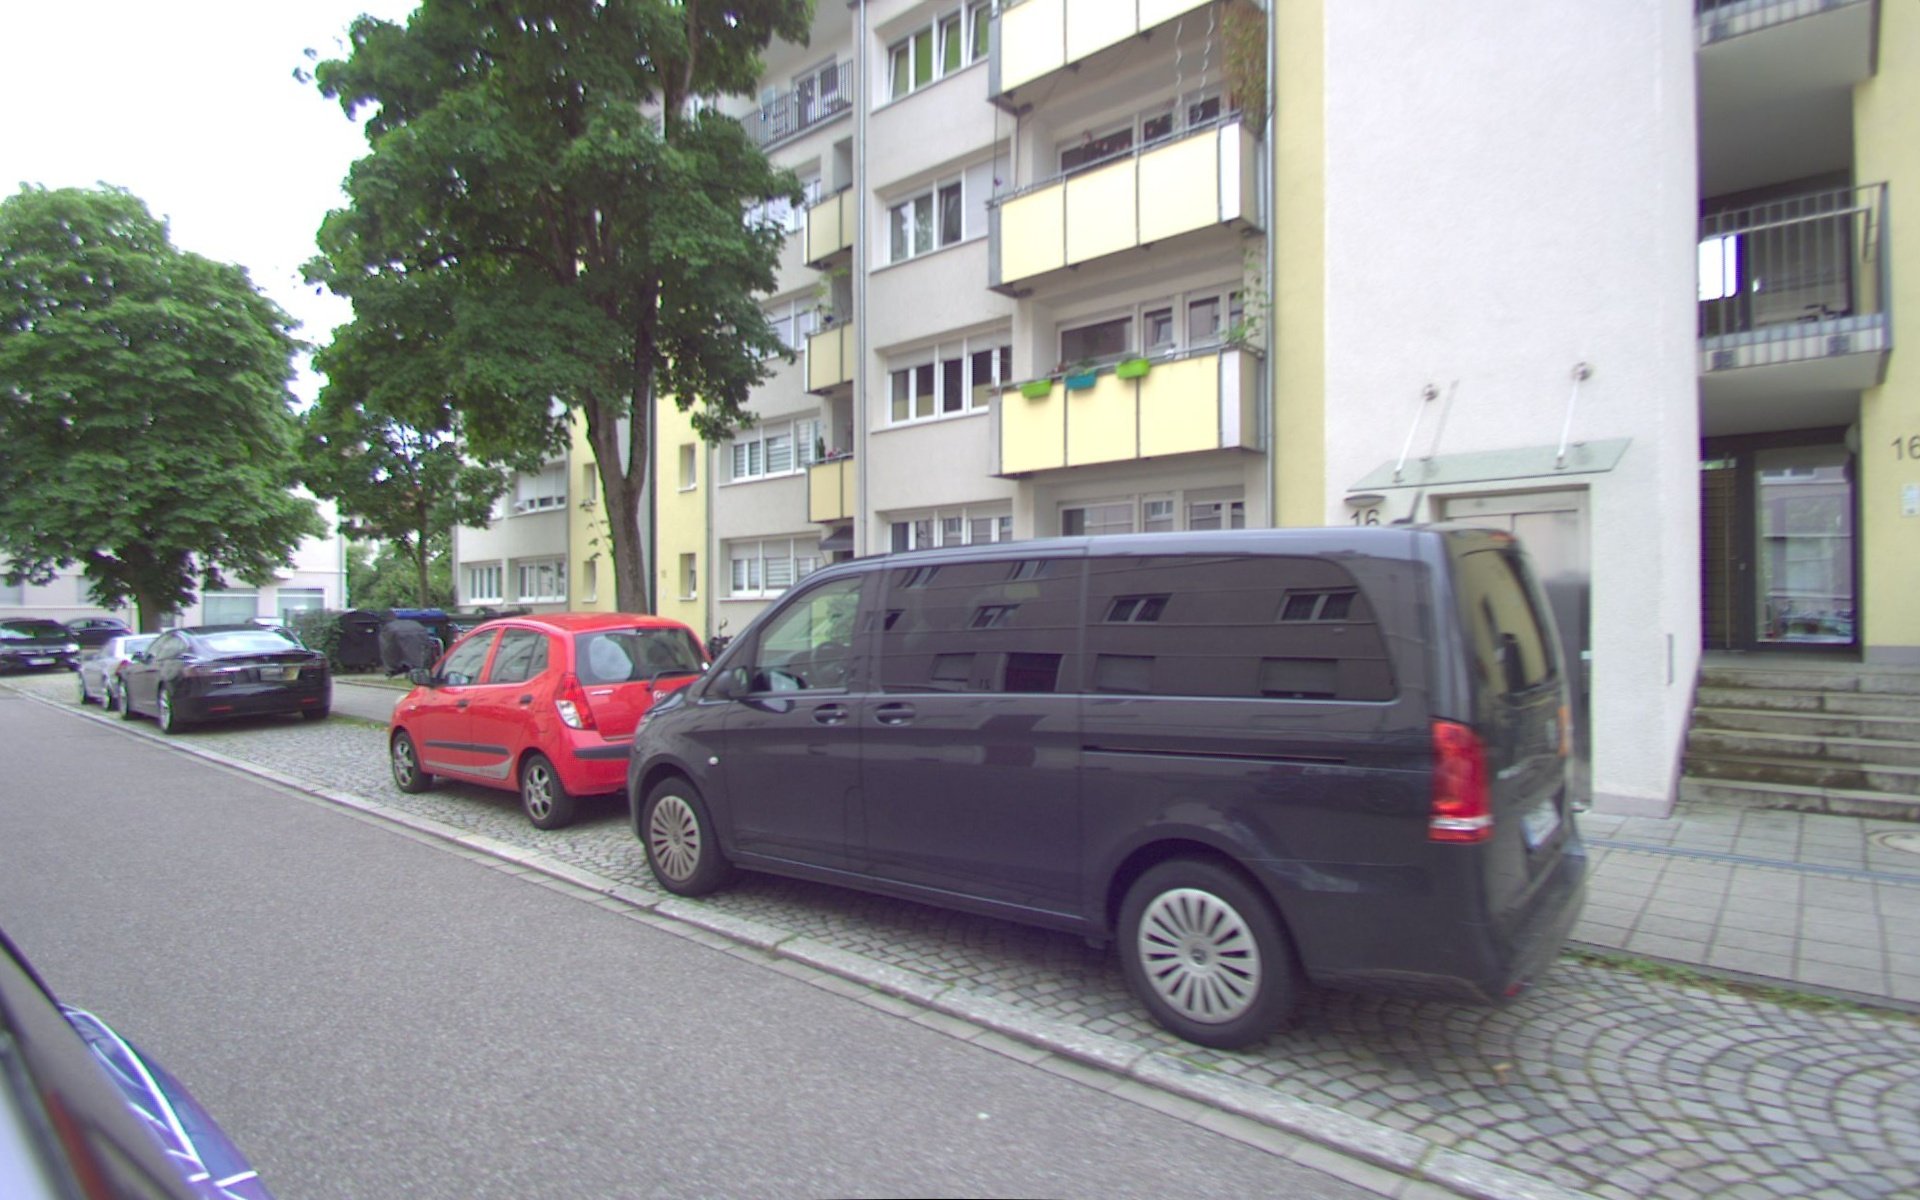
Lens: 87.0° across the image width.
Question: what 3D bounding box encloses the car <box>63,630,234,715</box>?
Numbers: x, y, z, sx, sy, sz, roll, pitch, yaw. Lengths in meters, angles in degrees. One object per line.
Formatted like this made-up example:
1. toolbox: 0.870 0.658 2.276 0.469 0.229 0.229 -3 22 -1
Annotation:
1. car: -14.951 1.252 18.561 4.208 1.274 1.742 -1 1 42

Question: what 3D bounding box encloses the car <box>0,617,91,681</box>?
1. car: -26.044 1.319 28.374 4.208 1.587 1.974 -1 1 42

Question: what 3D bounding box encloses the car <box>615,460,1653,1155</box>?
1. car: 0.427 0.599 5.005 4.782 1.869 1.867 -1 -1 40

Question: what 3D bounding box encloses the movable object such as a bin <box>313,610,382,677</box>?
1. movable object such as a bin: -14.102 0.991 23.296 0.889 1.487 1.168 -1 -2 44

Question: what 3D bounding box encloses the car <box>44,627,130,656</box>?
1. car: -40.413 1.907 46.885 1.353 1.294 2.890 -2 -2 44

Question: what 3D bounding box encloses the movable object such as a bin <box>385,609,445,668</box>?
1. movable object such as a bin: -14.234 0.986 26.444 0.889 1.487 1.168 -1 -2 44

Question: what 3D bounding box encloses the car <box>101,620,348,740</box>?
1. car: -10.965 1.060 14.977 4.430 1.450 1.895 -1 1 40

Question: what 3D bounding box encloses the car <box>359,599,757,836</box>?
1. car: -3.497 0.825 8.549 3.611 1.580 1.604 -1 -2 40
